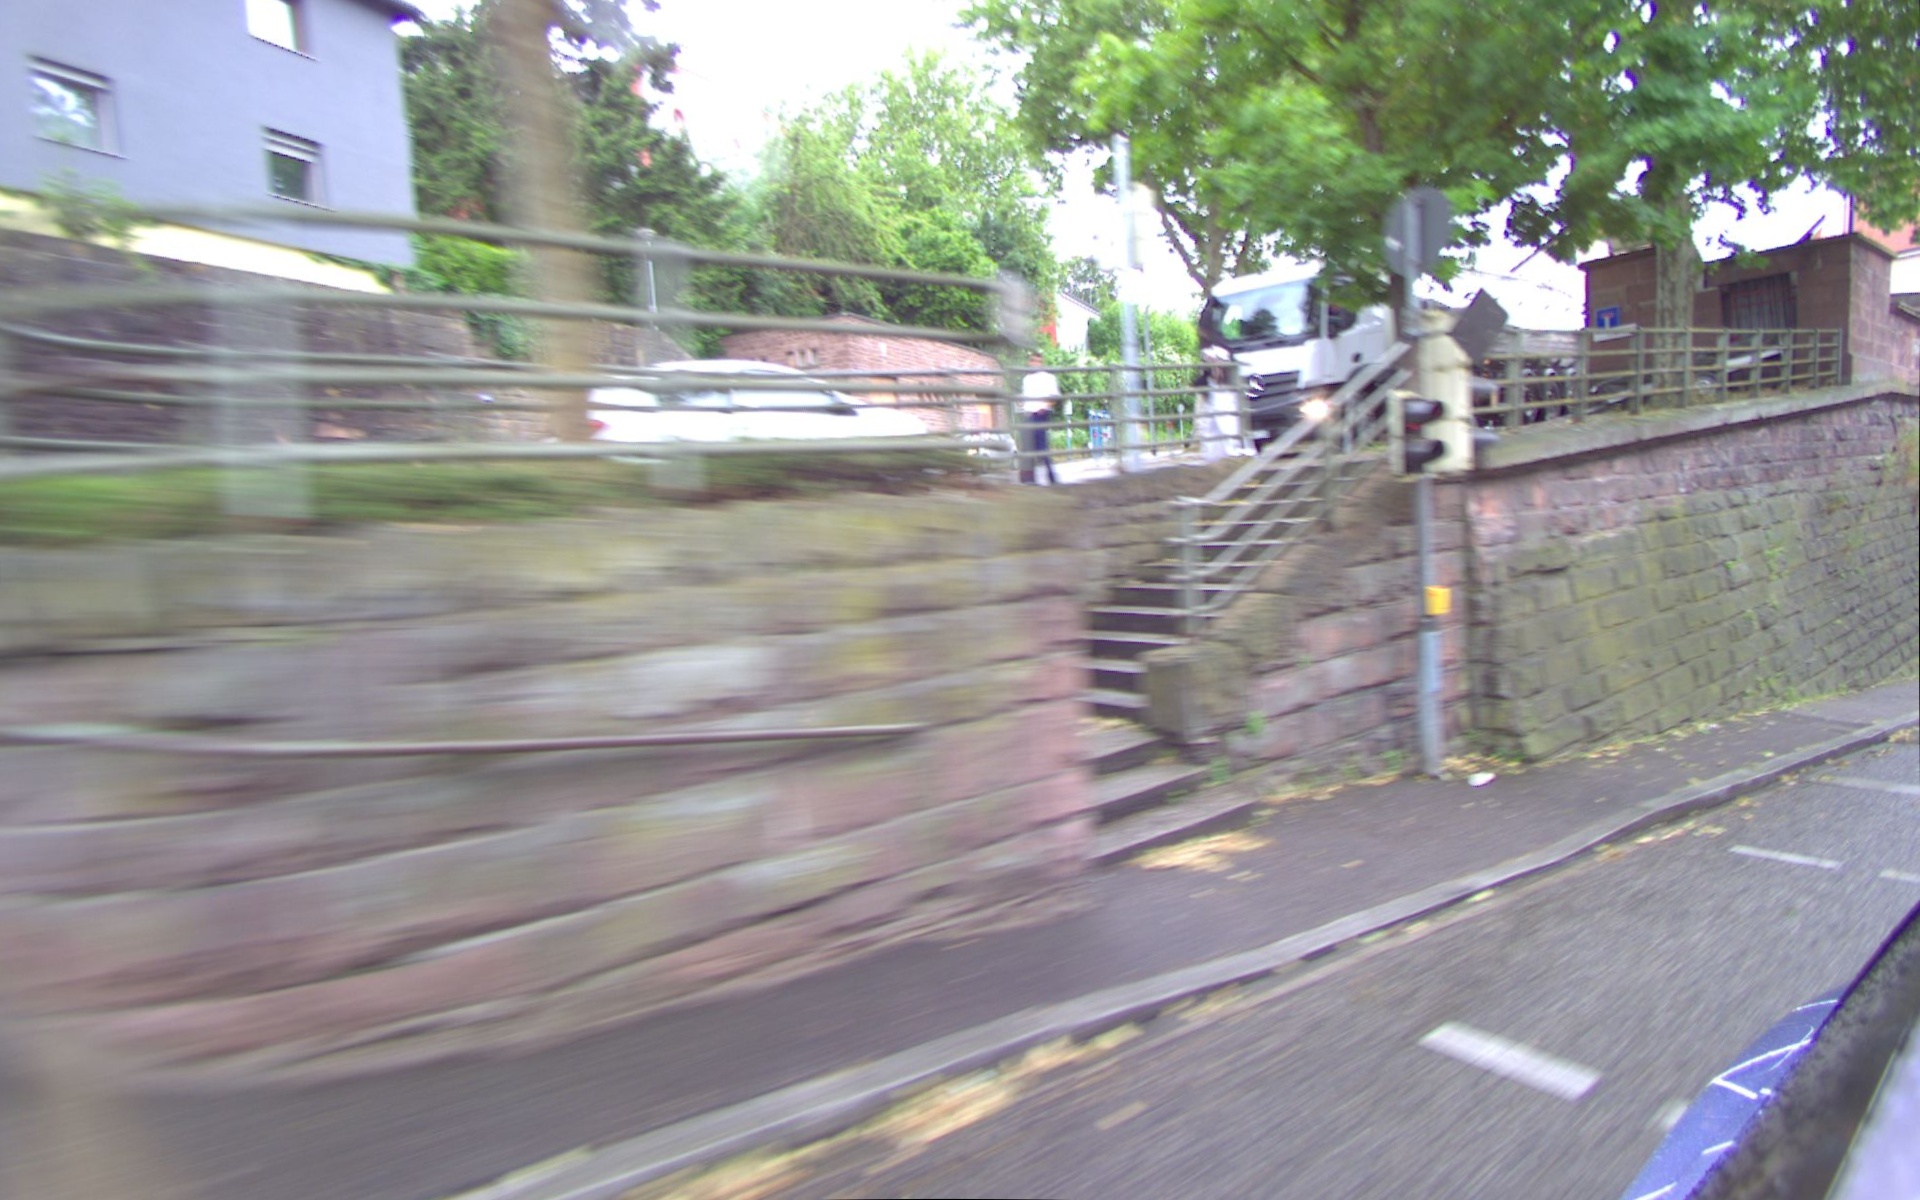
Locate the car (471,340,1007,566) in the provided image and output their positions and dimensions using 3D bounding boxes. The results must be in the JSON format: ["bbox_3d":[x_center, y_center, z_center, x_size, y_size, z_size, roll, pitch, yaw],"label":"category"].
[{"bbox_3d":[-1.763,-1.390,9.039,4.280,1.508,1.633,-12,7,-40],"label":"car"}]

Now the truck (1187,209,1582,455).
[{"bbox_3d":[8.715,-5.046,19.385,11.070,3.342,2.750,-15,13,-43],"label":"truck"}]

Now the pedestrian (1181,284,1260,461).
[{"bbox_3d":[2.743,-2.367,10.742,0.767,1.697,0.871,0,4,13],"label":"pedestrian"}]

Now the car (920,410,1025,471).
[{"bbox_3d":[0.476,-5.191,32.640,1.807,1.533,3.976,-1,11,26],"label":"car"}]

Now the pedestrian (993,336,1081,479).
[{"bbox_3d":[0.987,-2.440,13.062,0.764,1.697,0.875,-3,4,-34],"label":"pedestrian"}]
